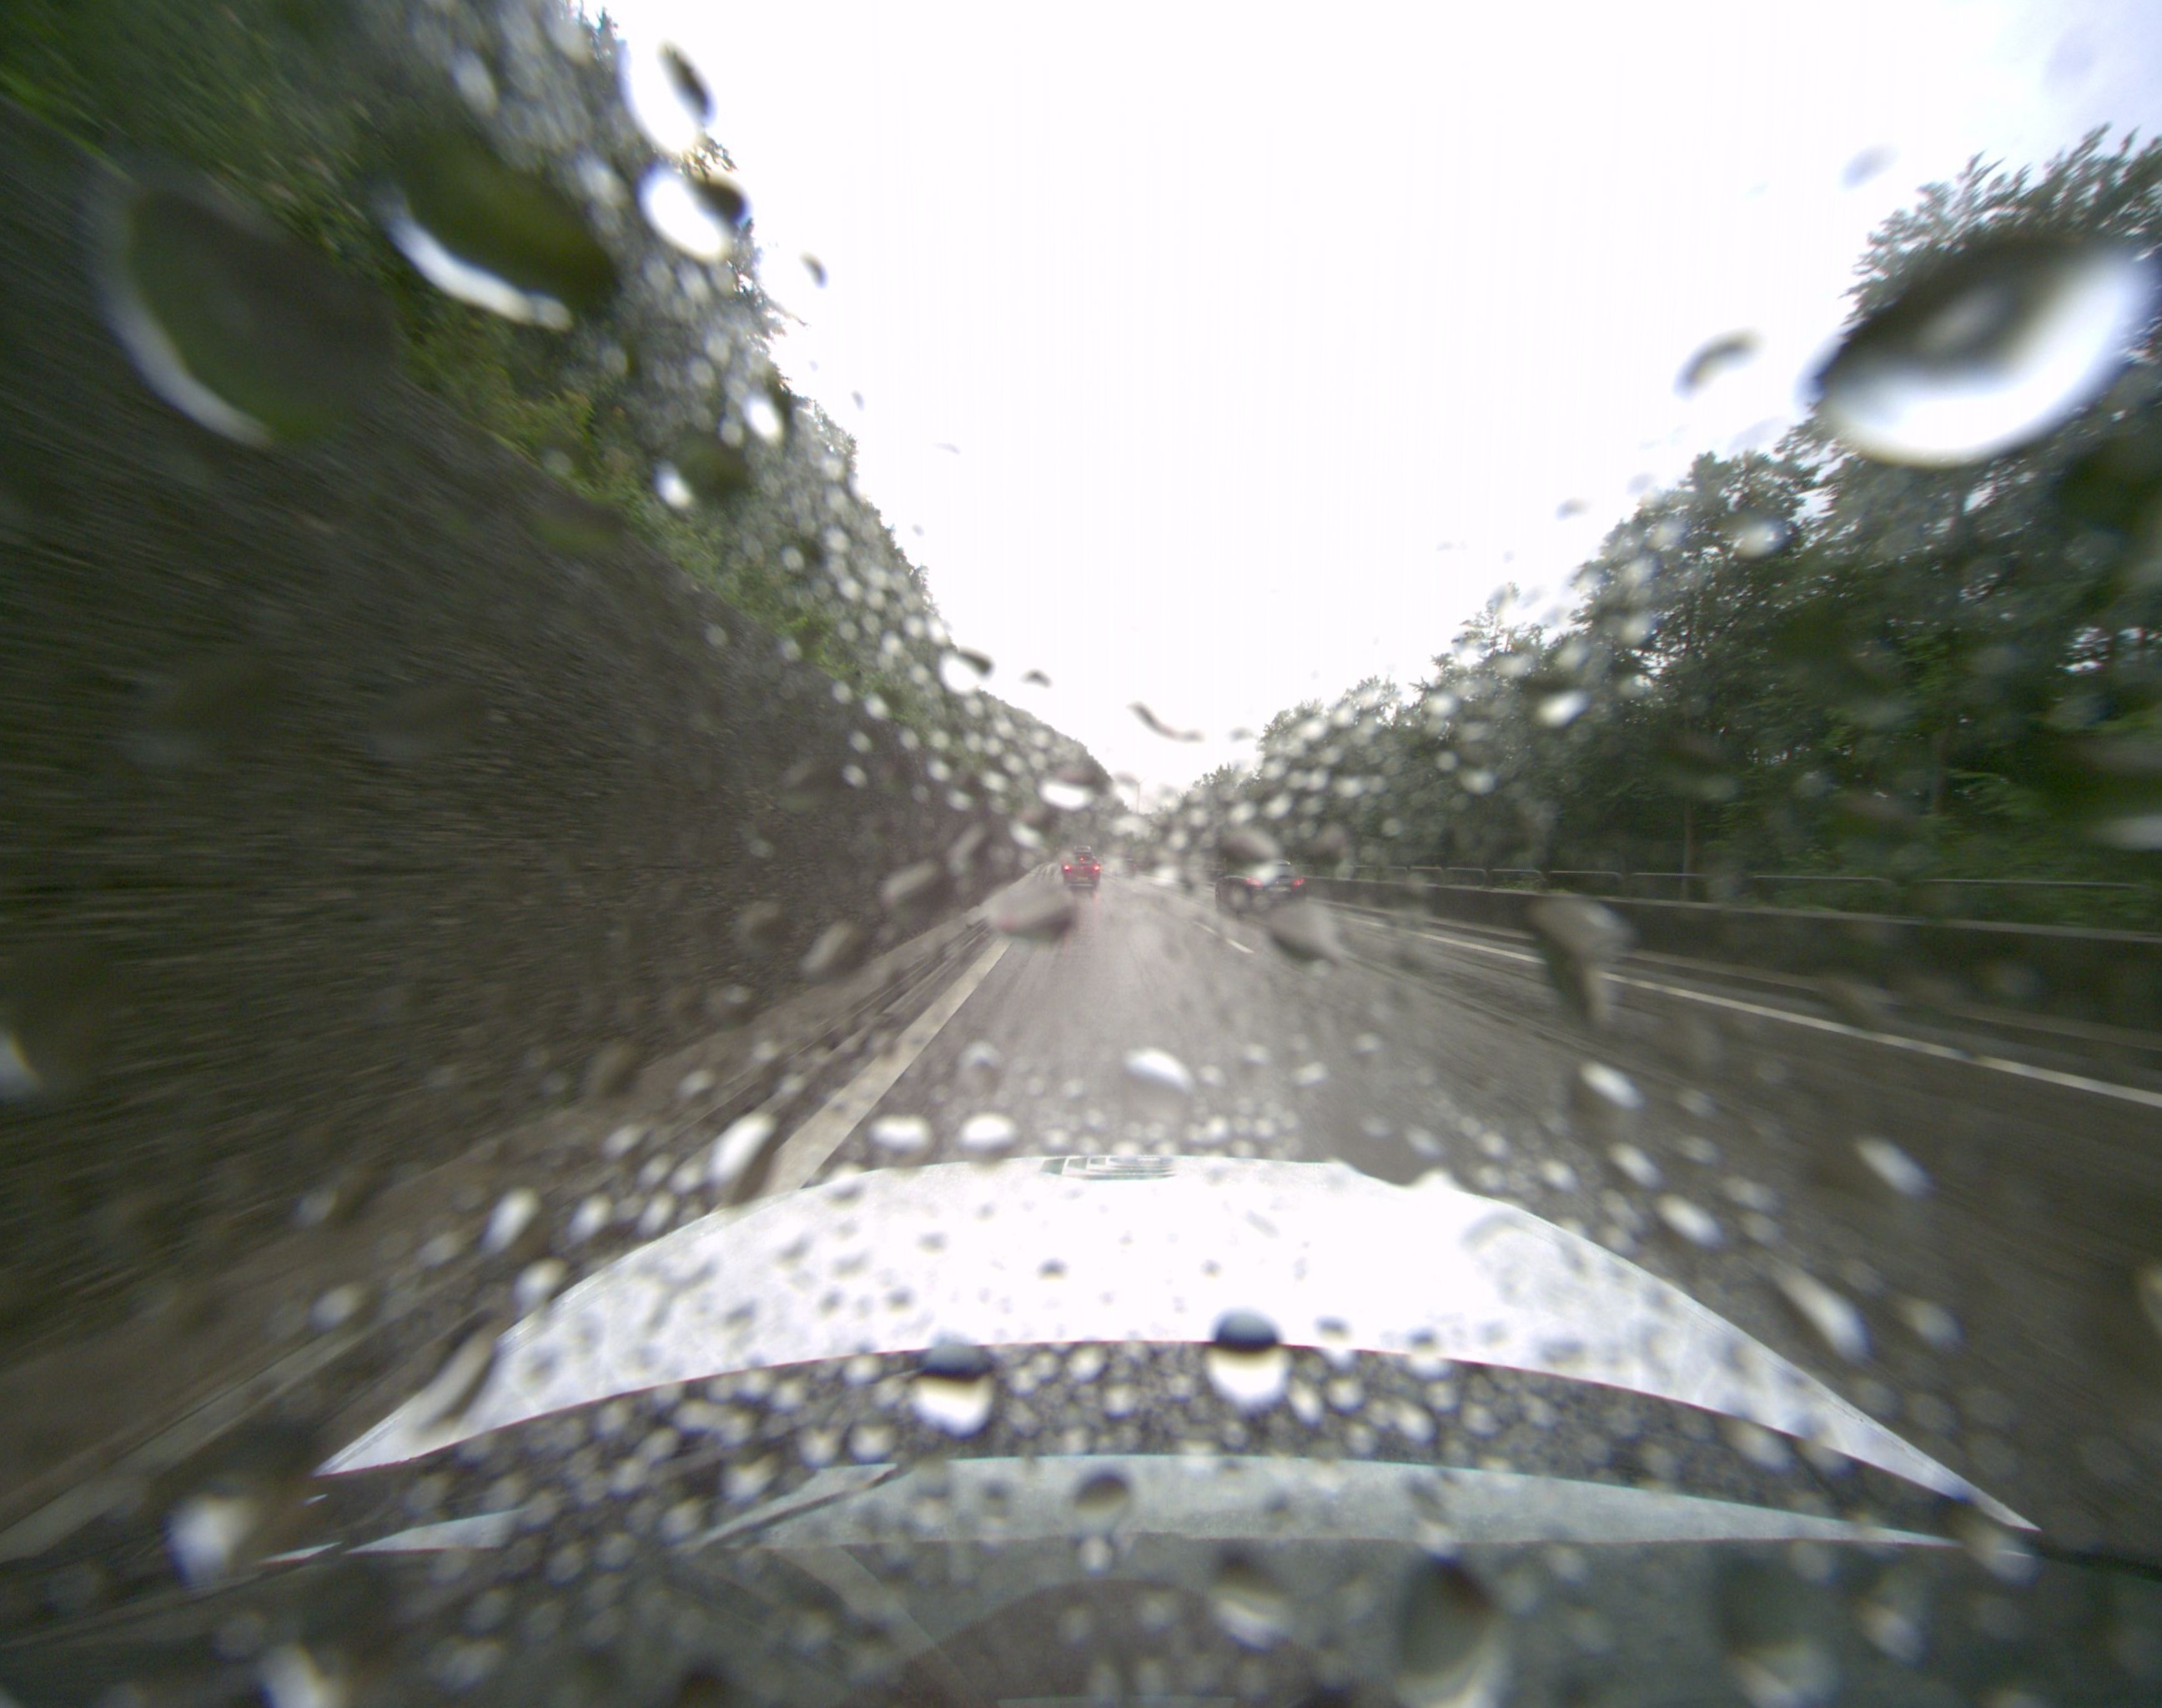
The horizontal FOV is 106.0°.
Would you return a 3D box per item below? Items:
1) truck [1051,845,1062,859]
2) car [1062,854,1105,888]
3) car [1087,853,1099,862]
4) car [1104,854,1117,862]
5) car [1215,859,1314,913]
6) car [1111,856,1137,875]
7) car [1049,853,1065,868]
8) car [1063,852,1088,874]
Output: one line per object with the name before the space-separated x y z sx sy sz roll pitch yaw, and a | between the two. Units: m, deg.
truck | -4.957 -0.322 164.428 1.988 2.751 5.582 -2 0 -2
car | 0.126 0.840 40.089 1.987 1.552 3.999 -1 -1 0
car | 2.141 0.656 147.458 1.987 1.577 3.999 0 0 -1
car | 7.850 1.066 217.333 2.451 2.014 4.716 -1 0 -12
car | 4.918 0.819 22.383 1.795 1.307 3.999 -1 0 0
car | 3.608 0.951 69.192 1.987 1.552 3.999 0 0 -1
car | -3.321 0.957 113.548 1.991 2.014 3.991 0 -1 -6
car | -0.405 0.726 65.279 1.987 1.684 3.999 0 -1 0
